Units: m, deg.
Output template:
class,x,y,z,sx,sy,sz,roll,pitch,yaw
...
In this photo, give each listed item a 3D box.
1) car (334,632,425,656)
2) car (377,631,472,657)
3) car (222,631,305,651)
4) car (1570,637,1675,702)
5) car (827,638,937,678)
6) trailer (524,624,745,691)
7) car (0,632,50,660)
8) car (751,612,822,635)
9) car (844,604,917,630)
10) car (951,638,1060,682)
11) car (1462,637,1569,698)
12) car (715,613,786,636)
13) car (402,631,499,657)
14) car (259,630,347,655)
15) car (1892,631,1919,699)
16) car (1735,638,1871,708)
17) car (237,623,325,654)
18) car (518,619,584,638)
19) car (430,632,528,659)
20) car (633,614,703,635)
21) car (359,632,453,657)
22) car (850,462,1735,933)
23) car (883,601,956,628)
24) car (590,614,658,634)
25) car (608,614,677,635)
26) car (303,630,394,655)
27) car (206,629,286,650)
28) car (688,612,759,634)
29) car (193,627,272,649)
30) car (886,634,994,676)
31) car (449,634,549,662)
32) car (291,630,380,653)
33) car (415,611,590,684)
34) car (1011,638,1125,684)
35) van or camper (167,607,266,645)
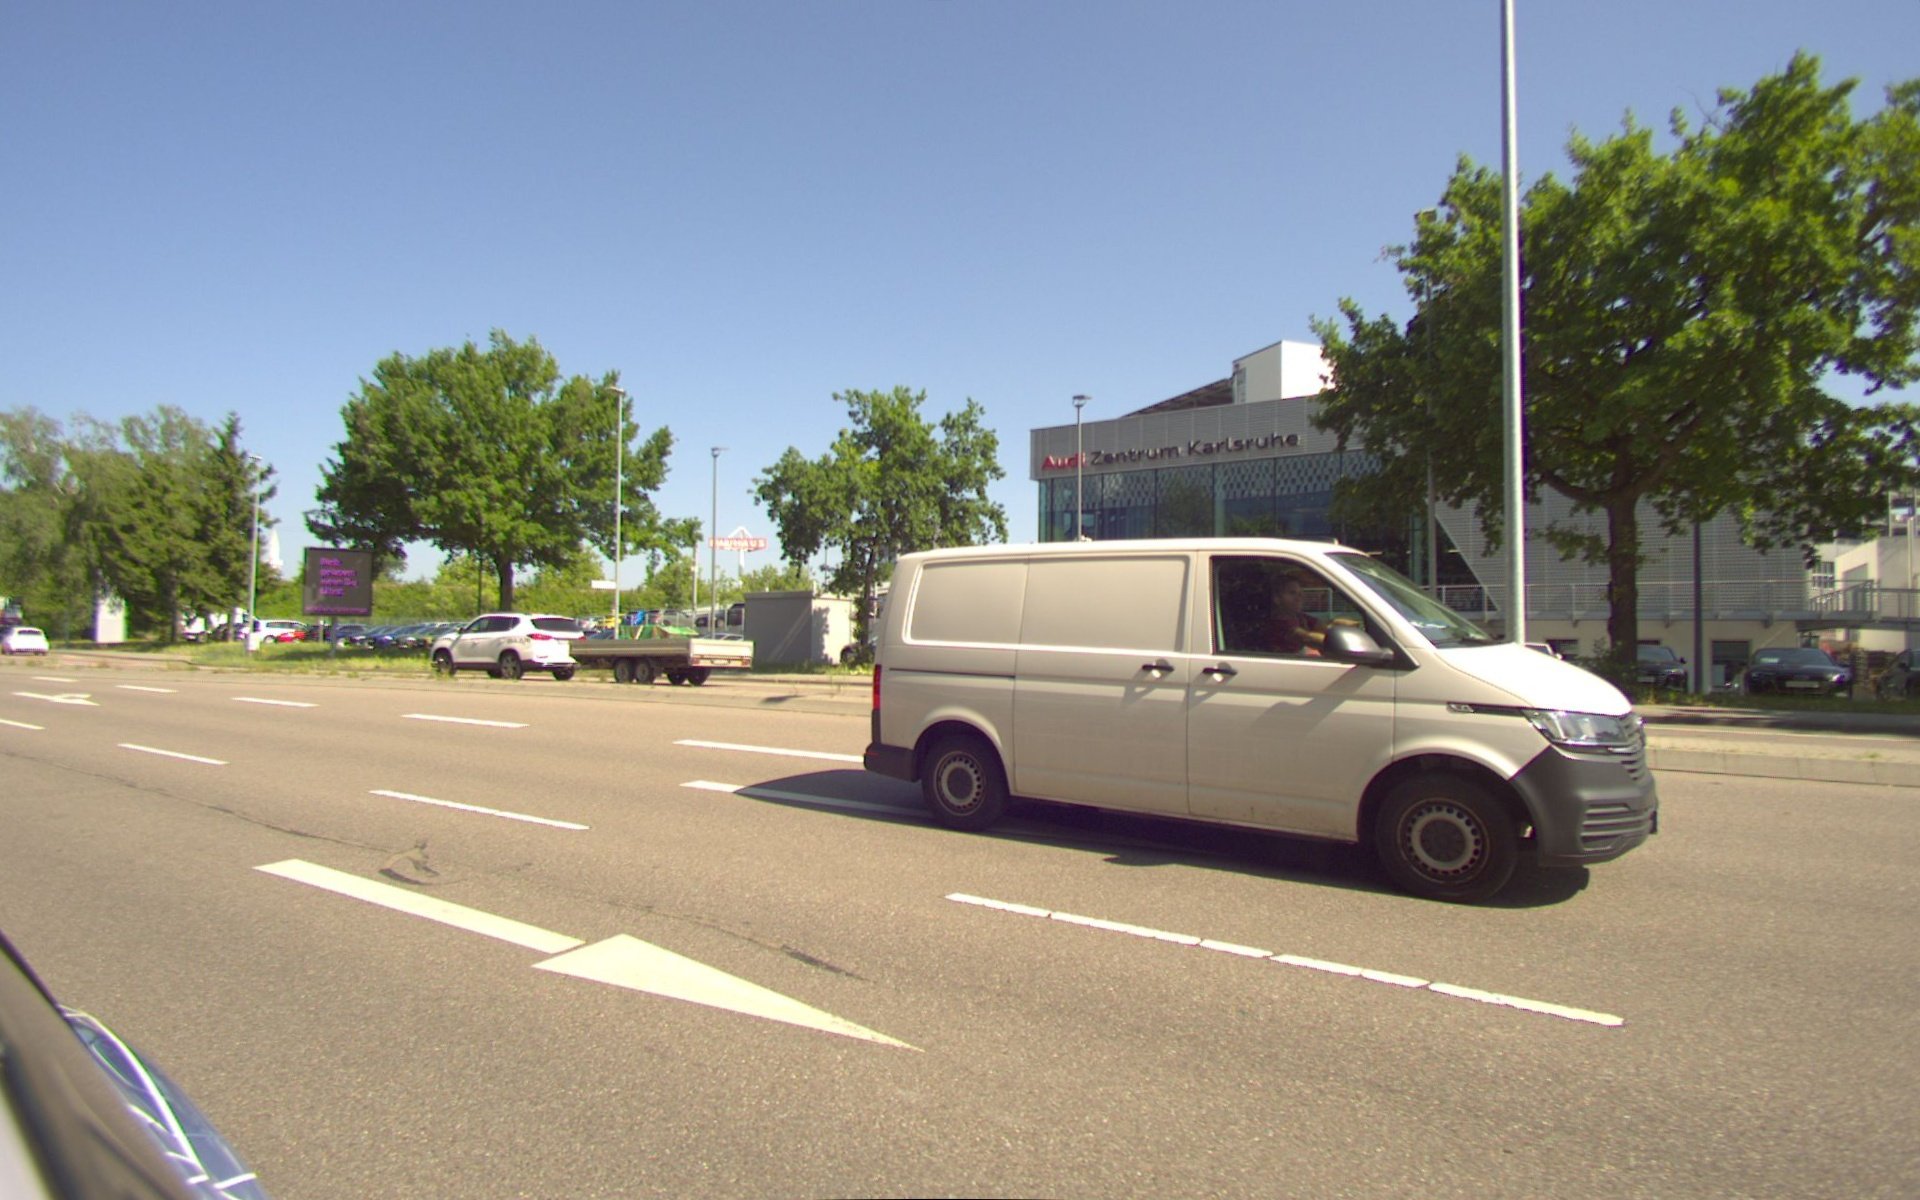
class,x,y,z,sx,sy,sz,roll,pitch,yaw
car,-33.861,2.560,59.118,1.950,1.361,4.226,-1,-3,37
car,-29.609,2.426,56.080,1.950,1.361,4.226,-1,-3,37
car,-45.266,2.683,65.835,1.741,1.303,4.049,-1,-3,37
car,15.690,1.599,23.941,1.920,1.386,3.953,-1,-3,35
car,-2.802,2.105,37.153,1.995,1.386,3.953,-1,-3,35
trailer,-8.059,1.361,24.805,5.754,1.464,1.978,-1,-3,33
car,-51.253,2.493,55.034,3.539,1.475,1.641,-1,-4,32
car,-10.779,1.478,63.026,1.950,1.361,4.228,-1,-3,35
car,-4.551,1.019,58.467,1.950,1.361,4.228,-1,-3,35
car,1.601,1.992,34.038,1.861,1.386,3.953,-1,-3,35
car,13.887,1.636,25.197,1.920,1.386,3.953,-1,-3,35
car,-13.161,1.581,63.822,1.950,1.361,4.228,-1,-3,35
car,-27.518,2.372,54.774,1.950,1.361,4.226,-1,-3,37
car,-41.167,2.647,63.512,1.950,1.515,4.226,-1,-3,37
car,20.726,1.344,20.661,1.920,1.386,3.953,-1,-3,35
car,18.536,1.566,22.434,1.920,1.386,3.953,-1,-3,35
car,-43.231,2.492,64.546,1.950,1.899,4.226,-1,-3,37
car,-30.529,2.130,75.615,1.950,1.361,4.228,-1,-3,35
car,-25.261,2.407,53.230,1.950,1.361,4.226,-1,-3,37
car,-19.703,1.667,68.418,1.950,1.361,4.228,-1,-3,35
car,-31.408,2.515,57.438,1.950,1.361,4.226,-1,-3,37
car,1.781,0.498,6.534,4.962,2.009,1.865,-1,-3,35
car,-2.238,0.856,56.865,1.950,1.361,4.228,-1,-3,35
car,-23.684,1.708,71.500,1.950,1.361,4.228,-1,-3,35
car,-21.973,1.748,70.088,1.950,1.361,4.228,-1,-3,35
car,-36.183,2.522,59.960,1.950,1.392,4.226,-1,-3,37
car,-47.685,2.647,67.621,1.742,1.364,4.045,-1,-3,40
car,-15.253,1.515,65.398,1.950,1.361,4.228,-1,-3,35
car,-49.451,2.592,68.828,1.742,1.450,4.045,-2,-3,40
car,-0.654,1.925,35.608,1.861,1.386,3.953,-1,-3,35
car,-23.487,2.440,51.701,1.950,1.361,4.226,-1,-3,37
car,-38.404,2.578,62.286,1.950,1.338,4.226,-1,-3,37
car,-12.569,1.280,27.708,4.922,1.847,1.978,-1,-3,33
car,3.545,1.949,32.718,2.020,1.386,4.007,-1,-3,35
van or camper,-52.467,1.812,71.521,1.994,2.489,5.336,-3,-2,32
